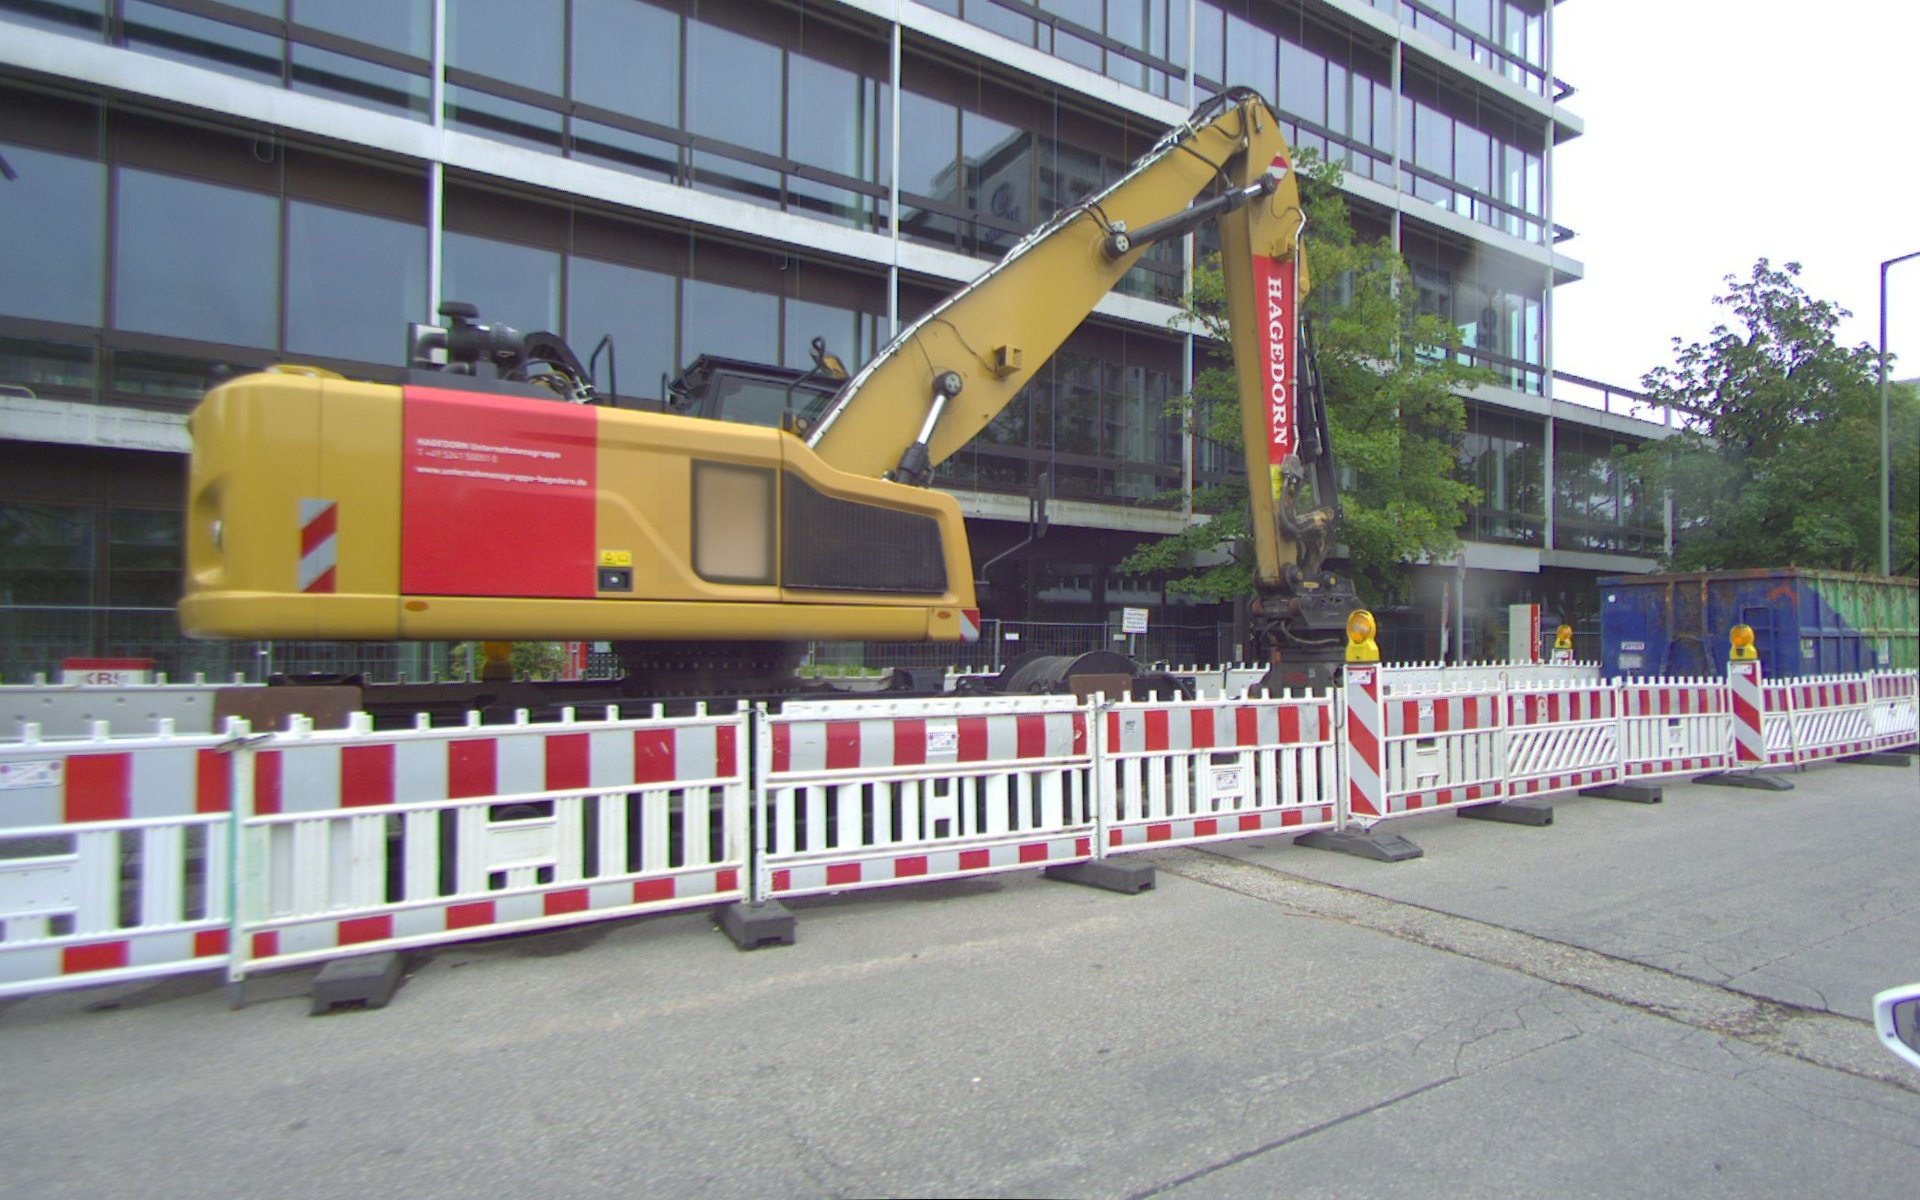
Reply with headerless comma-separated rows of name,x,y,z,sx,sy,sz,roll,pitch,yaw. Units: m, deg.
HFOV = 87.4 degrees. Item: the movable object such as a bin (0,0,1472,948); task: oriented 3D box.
movable object such as a bin,-0.747,-1.710,7.819,11.653,6.650,2.889,2,-2,-32
